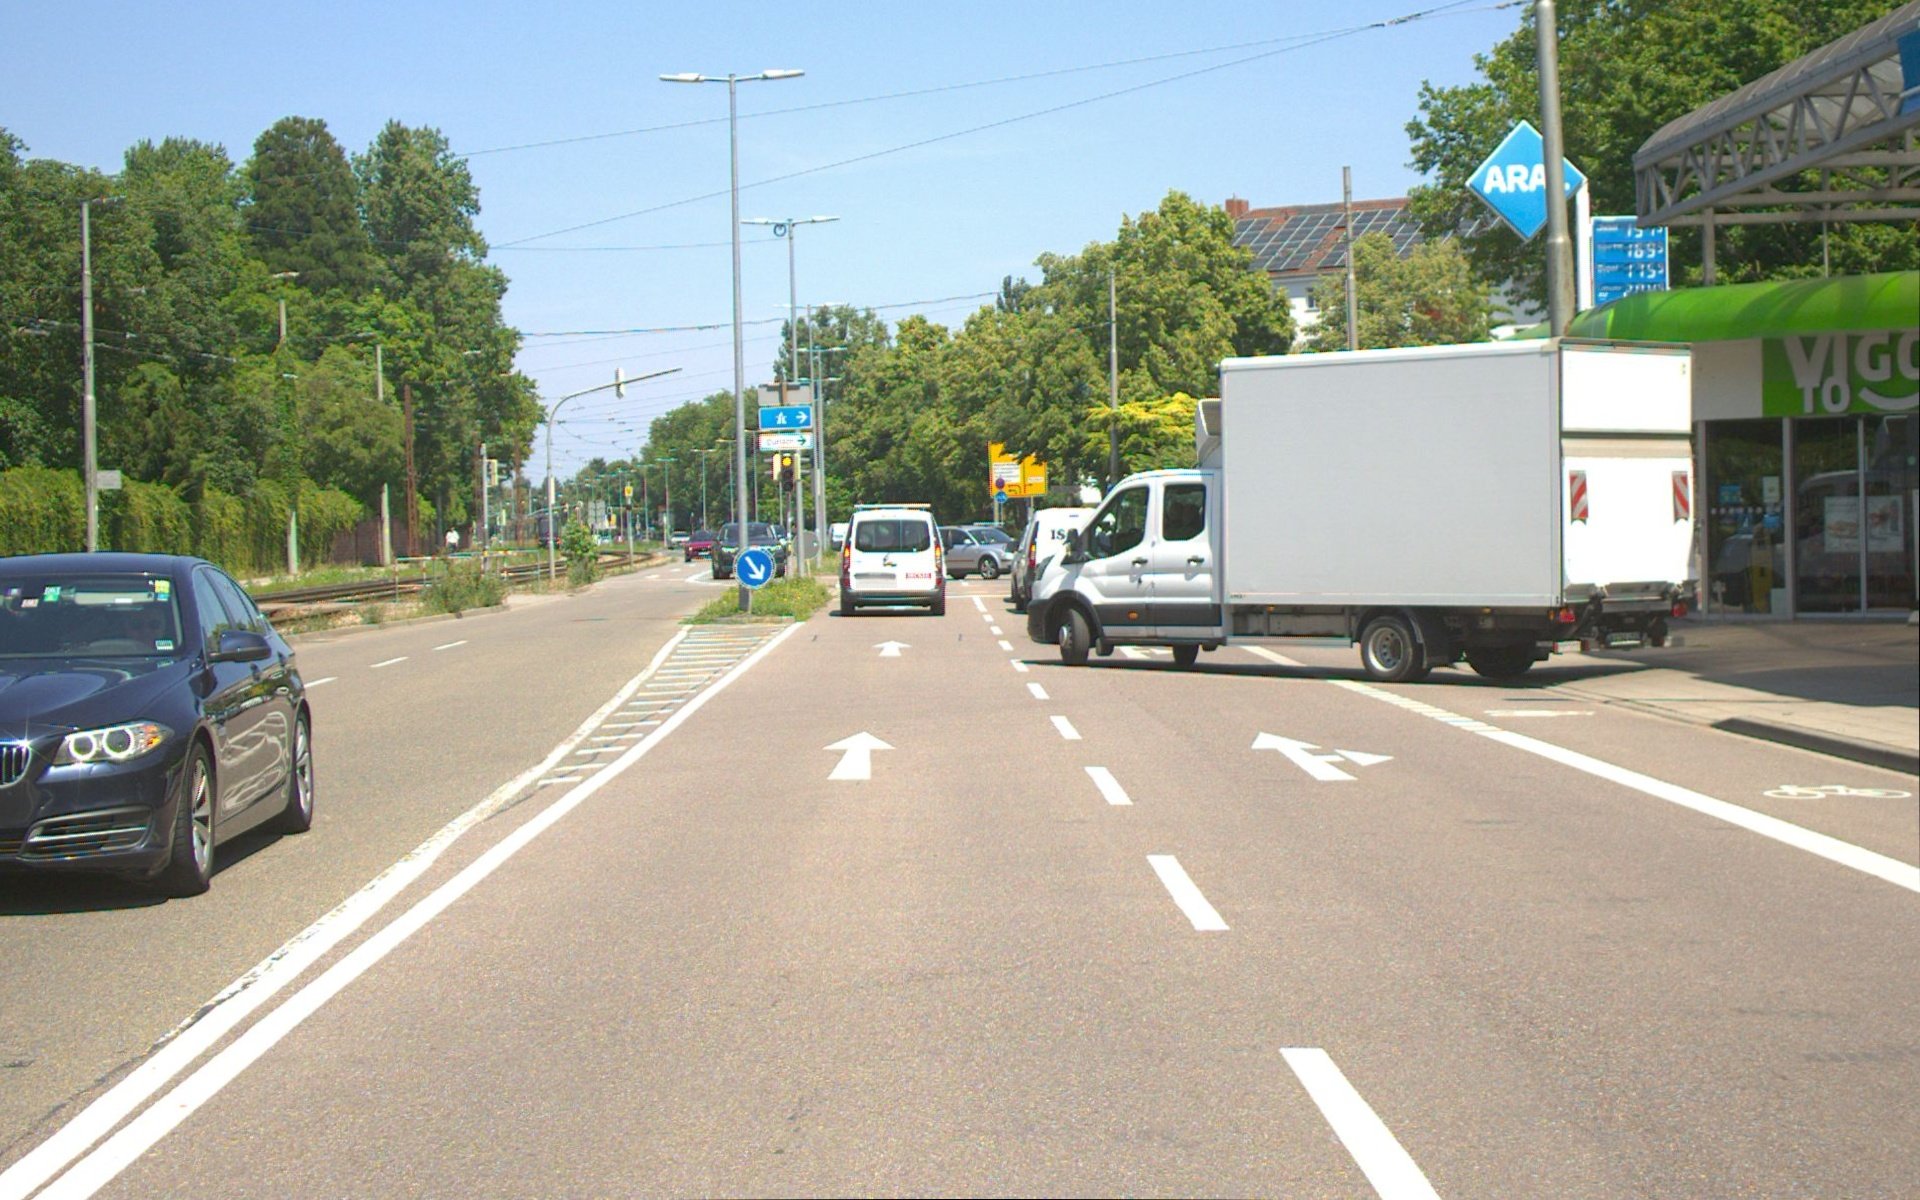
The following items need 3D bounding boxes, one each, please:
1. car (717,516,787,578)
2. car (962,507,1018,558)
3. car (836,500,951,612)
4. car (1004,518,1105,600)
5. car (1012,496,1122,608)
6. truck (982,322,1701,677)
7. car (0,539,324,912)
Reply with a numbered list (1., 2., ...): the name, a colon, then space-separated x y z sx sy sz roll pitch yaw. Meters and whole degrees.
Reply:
1. car: -6.368 -1.639 104.955 1.993 1.822 4.541 -1 2 -5
2. car: 1.122 -2.581 130.129 1.993 1.853 4.001 -1 2 -1
3. car: -1.144 -0.772 58.233 1.866 1.829 3.849 0 1 -1
4. car: 1.815 -0.823 67.037 1.756 1.481 4.001 -1 2 -1
5. car: 1.810 -0.842 59.153 1.710 1.824 4.014 -1 1 0
6. truck: 3.836 -1.016 36.461 2.421 3.380 7.829 -3 2 -43
7. car: -4.055 0.457 15.474 1.793 1.394 4.449 -1 2 -4
